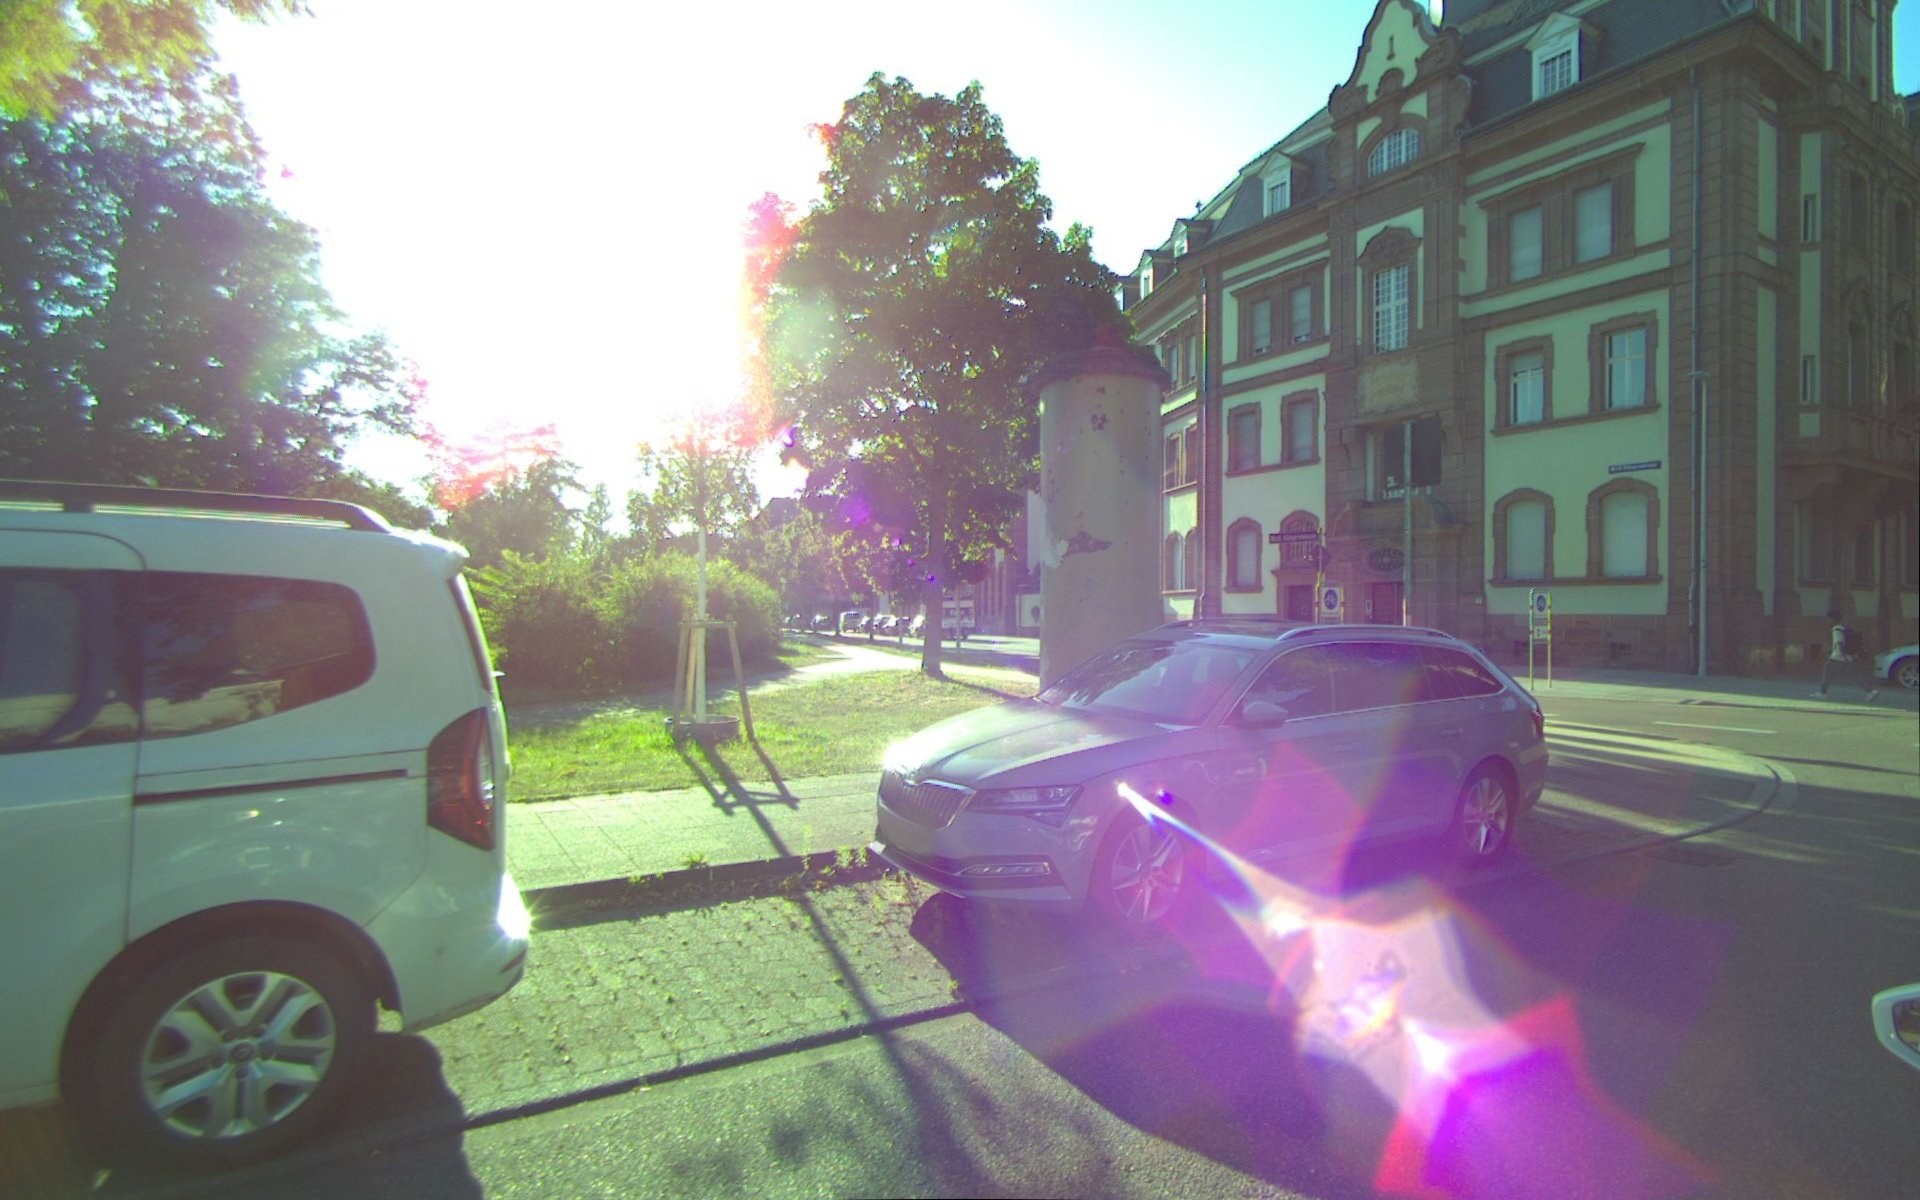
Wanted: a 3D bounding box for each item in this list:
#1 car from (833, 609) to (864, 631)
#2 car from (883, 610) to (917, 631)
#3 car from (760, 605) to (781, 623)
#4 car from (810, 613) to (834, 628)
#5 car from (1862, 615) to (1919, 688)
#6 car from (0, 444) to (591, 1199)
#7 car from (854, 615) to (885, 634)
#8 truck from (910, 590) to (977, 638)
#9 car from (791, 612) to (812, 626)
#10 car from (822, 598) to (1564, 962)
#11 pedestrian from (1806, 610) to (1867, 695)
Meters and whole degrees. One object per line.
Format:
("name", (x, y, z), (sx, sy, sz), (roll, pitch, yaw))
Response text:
("car", (-11.256, 2.076, 101.341), (2.087, 2.064, 4.649), (3, -3, -19))
("car", (-4.873, 1.670, 80.963), (1.844, 1.536, 3.953), (3, -3, -17))
("car", (-27.284, 2.045, 144.532), (1.847, 2.359, 4.910), (3, -3, -22))
("car", (-15.464, 2.343, 112.670), (1.845, 1.536, 3.950), (3, -3, -19))
("car", (22.767, 1.148, 21.541), (1.822, 1.615, 4.814), (1, -1, -33))
("car", (-3.529, 0.552, 2.704), (4.503, 1.865, 1.771), (1, -1, -33))
("car", (-8.251, 2.237, 91.025), (1.845, 1.536, 3.950), (3, -3, -19))
("truck", (-1.251, 0.927, 68.465), (2.570, 3.069, 7.982), (1, -1, -16))
("car", (-19.317, 2.372, 122.463), (1.845, 1.536, 3.950), (3, -3, -19))
("car", (1.588, 0.794, 6.152), (4.501, 1.525, 1.772), (1, -1, -32))
("pedestrian", (17.125, 1.016, 19.622), (0.714, 1.627, 0.779), (2, -2, -37))
